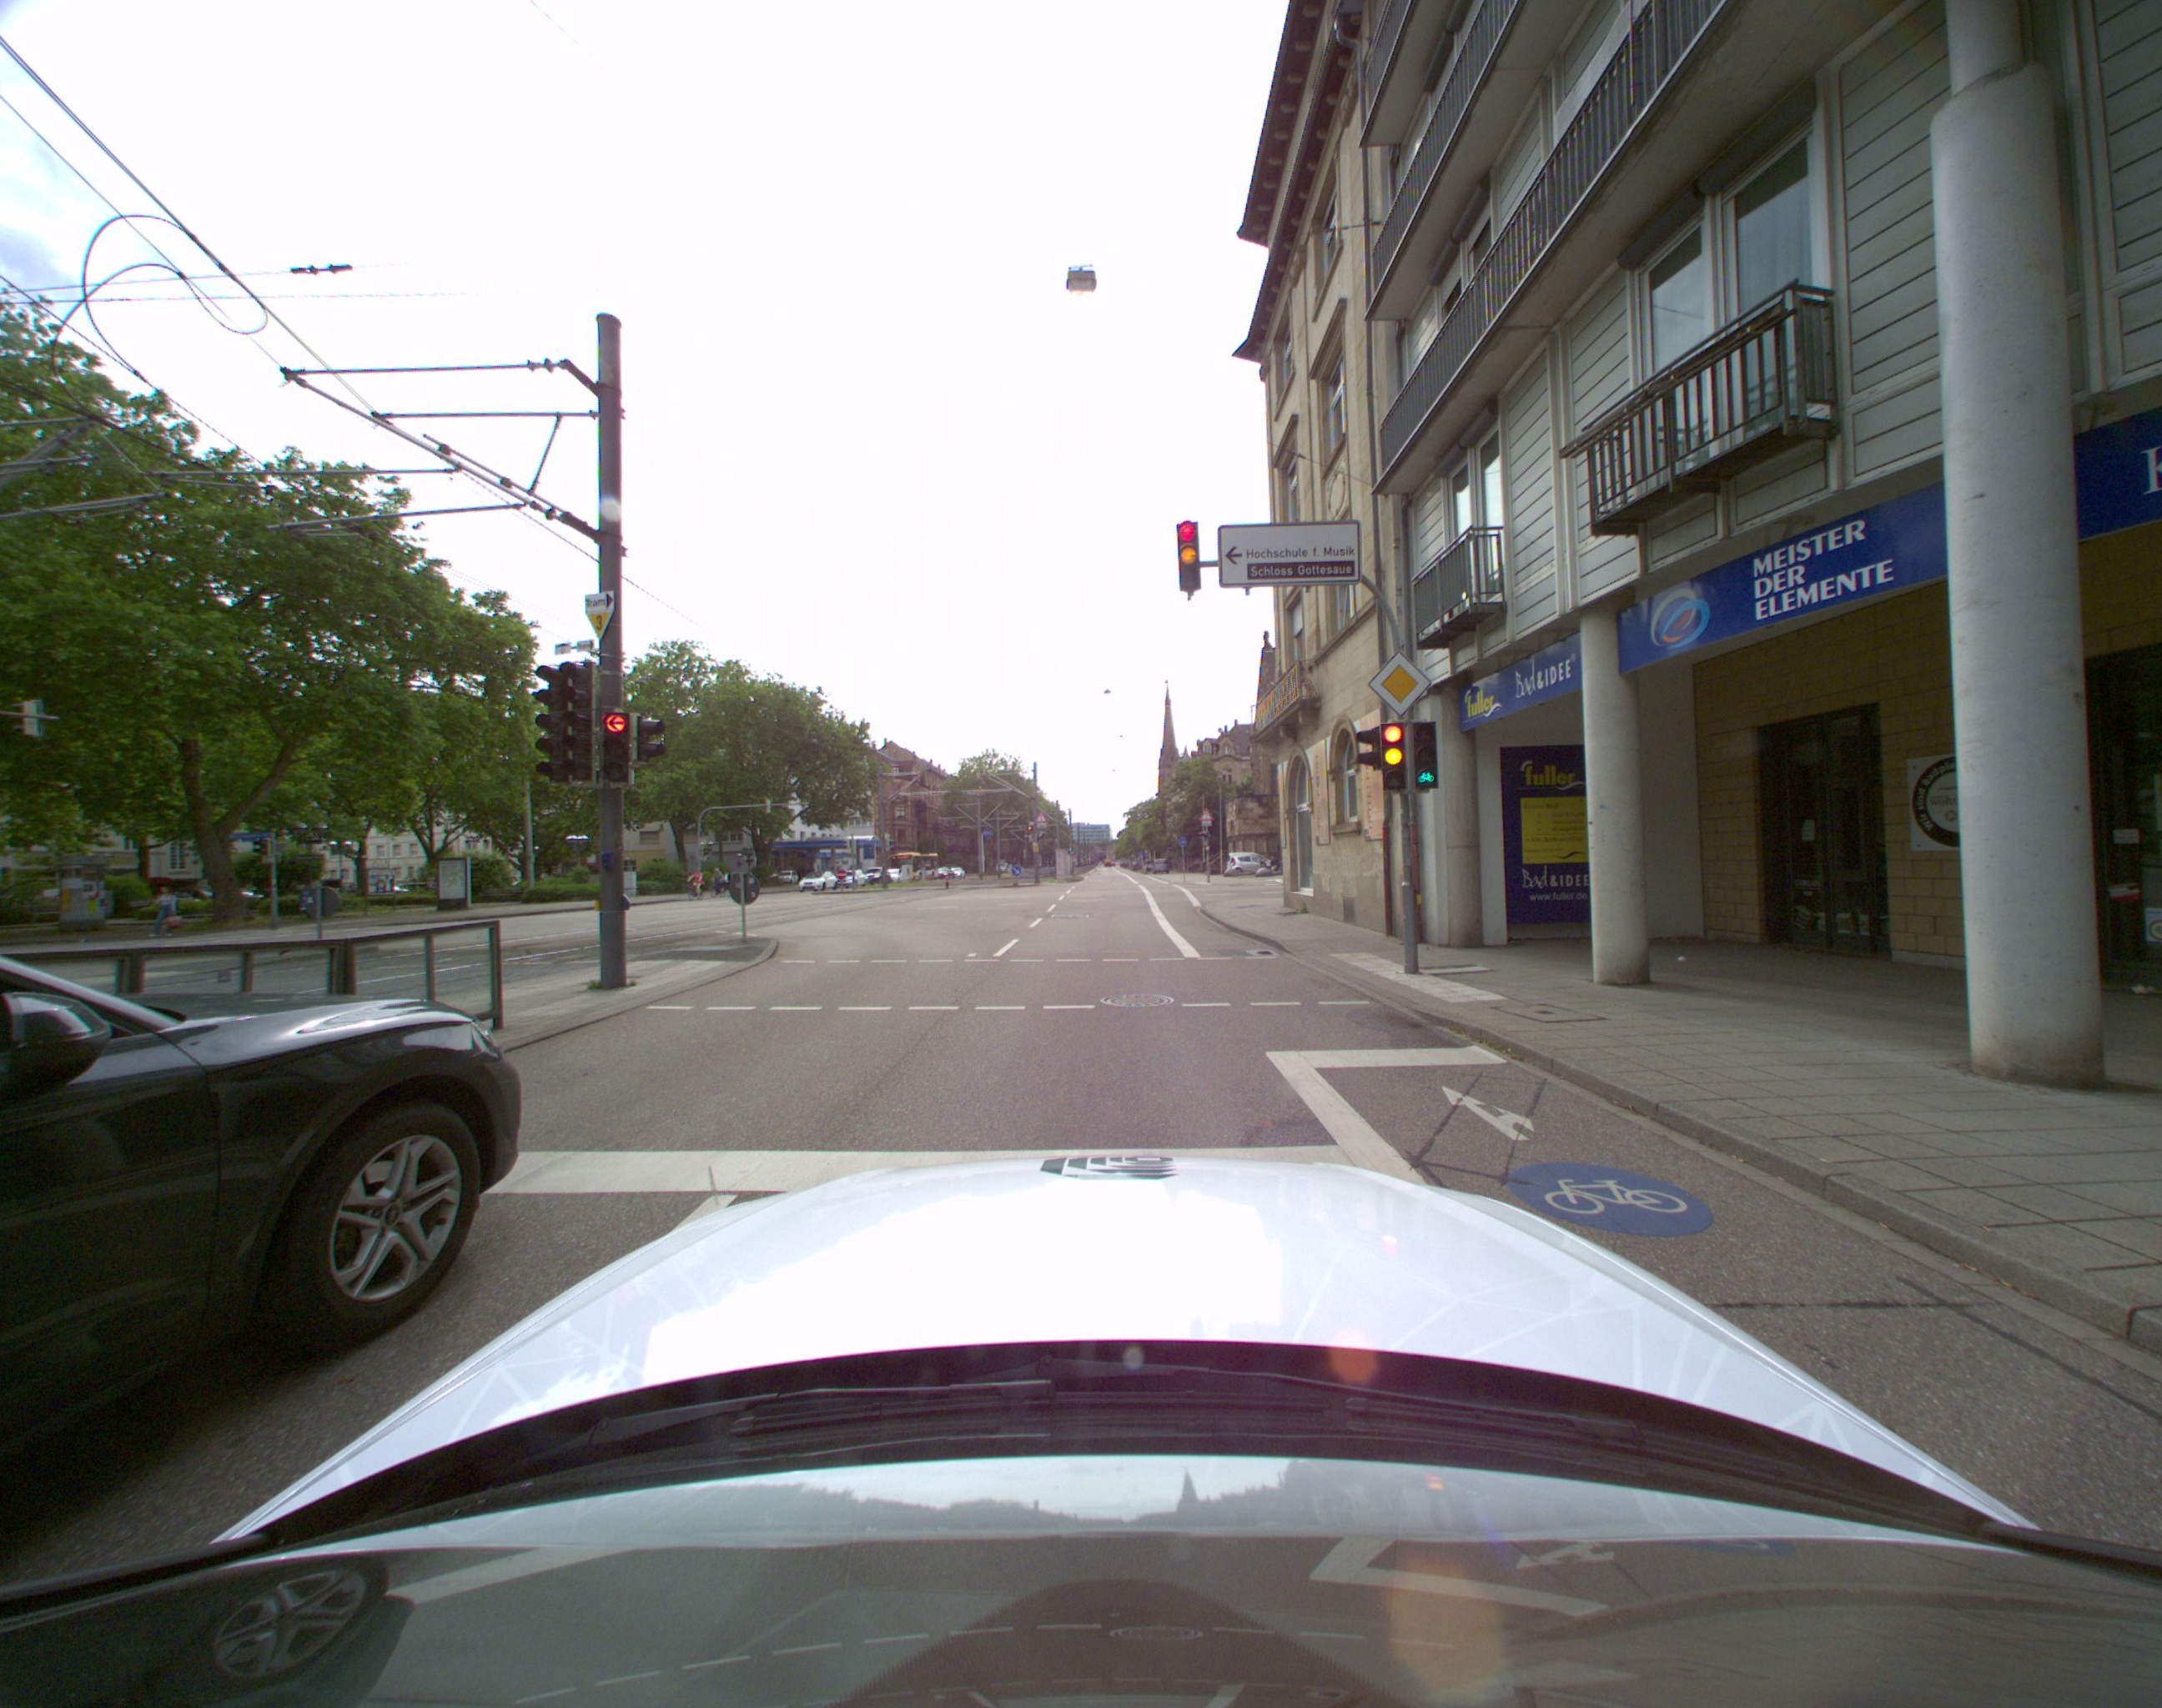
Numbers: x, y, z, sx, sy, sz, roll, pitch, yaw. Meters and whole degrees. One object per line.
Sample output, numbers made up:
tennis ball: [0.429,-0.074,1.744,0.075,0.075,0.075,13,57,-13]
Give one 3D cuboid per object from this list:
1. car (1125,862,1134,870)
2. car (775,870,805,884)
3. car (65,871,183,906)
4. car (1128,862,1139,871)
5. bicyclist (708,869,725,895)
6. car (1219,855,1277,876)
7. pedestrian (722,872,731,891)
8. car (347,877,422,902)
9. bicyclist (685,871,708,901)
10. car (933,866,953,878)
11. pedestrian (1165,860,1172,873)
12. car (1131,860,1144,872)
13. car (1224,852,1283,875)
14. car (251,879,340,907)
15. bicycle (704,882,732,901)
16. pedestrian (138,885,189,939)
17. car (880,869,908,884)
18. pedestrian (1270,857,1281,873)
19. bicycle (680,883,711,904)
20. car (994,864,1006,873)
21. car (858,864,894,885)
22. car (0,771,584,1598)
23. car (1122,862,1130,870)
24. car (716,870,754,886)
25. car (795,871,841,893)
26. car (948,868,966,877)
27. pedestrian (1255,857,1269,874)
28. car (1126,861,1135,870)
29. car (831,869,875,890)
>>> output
car: [12.489,3.044,210.431,1.987,1.926,4.000,0,-1,1]
car: [-29.651,2.335,83.151,1.696,1.358,3.406,0,-1,2]
car: [-65.095,2.309,55.482,4.825,2.101,2.072,-2,-1,-16]
car: [11.083,2.575,172.270,1.986,1.882,4.001,-2,0,2]
bicyclist: [-22.676,1.754,50.652,0.581,1.562,0.757,-4,-1,2]
car: [13.203,0.915,64.594,4.333,1.636,1.663,0,-1,1]
pedestrian: [-25.532,1.957,58.666,0.454,1.326,0.469,-1,-1,-5]
car: [-64.531,3.290,75.541,4.825,2.101,2.072,-2,-1,-16]
bicyclist: [-21.951,1.836,46.511,0.703,1.637,0.994,-3,-1,1]
car: [-17.444,2.279,102.898,1.696,1.358,3.893,0,-1,2]
pedestrian: [10.781,1.531,100.271,0.772,1.647,0.800,0,-1,8]
car: [9.494,1.962,136.060,1.986,1.820,4.001,-2,0,2]
car: [14.412,0.760,68.031,4.593,1.881,1.663,0,-1,1]
car: [-64.654,3.193,67.132,4.825,2.101,2.072,-2,-1,-16]
bicycle: [-22.613,2.312,50.751,0.724,1.064,1.993,-4,-1,2]
pedestrian: [-30.396,1.914,26.988,0.802,1.690,0.755,-2,-1,-3]
car: [-18.240,2.161,79.765,1.696,1.398,3.893,0,-1,2]
pedestrian: [14.583,0.834,61.063,0.731,1.228,1.067,-1,-1,16]
bicycle: [-21.953,2.233,46.433,0.724,1.064,1.993,-4,-1,1]
car: [-14.923,2.691,149.898,1.696,1.712,3.893,0,-1,2]
car: [-18.416,1.807,73.433,1.695,1.783,5.152,0,-1,2]
car: [-3.121,0.661,1.267,1.904,1.647,4.369,0,-1,2]
car: [12.092,3.173,218.139,1.987,2.014,4.000,0,-1,1]
car: [-34.900,2.410,82.335,1.986,1.466,4.001,-2,0,2]
car: [-19.208,2.006,59.699,1.835,1.448,4.415,0,0,2]
car: [-16.686,2.483,109.994,1.696,1.221,3.893,0,0,2]
pedestrian: [13.490,0.854,60.694,0.734,1.191,1.494,0,-1,2]
car: [11.573,2.642,190.733,1.987,2.014,4.000,0,-1,1]
car: [-18.593,2.059,66.792,1.834,1.526,5.704,0,0,2]
